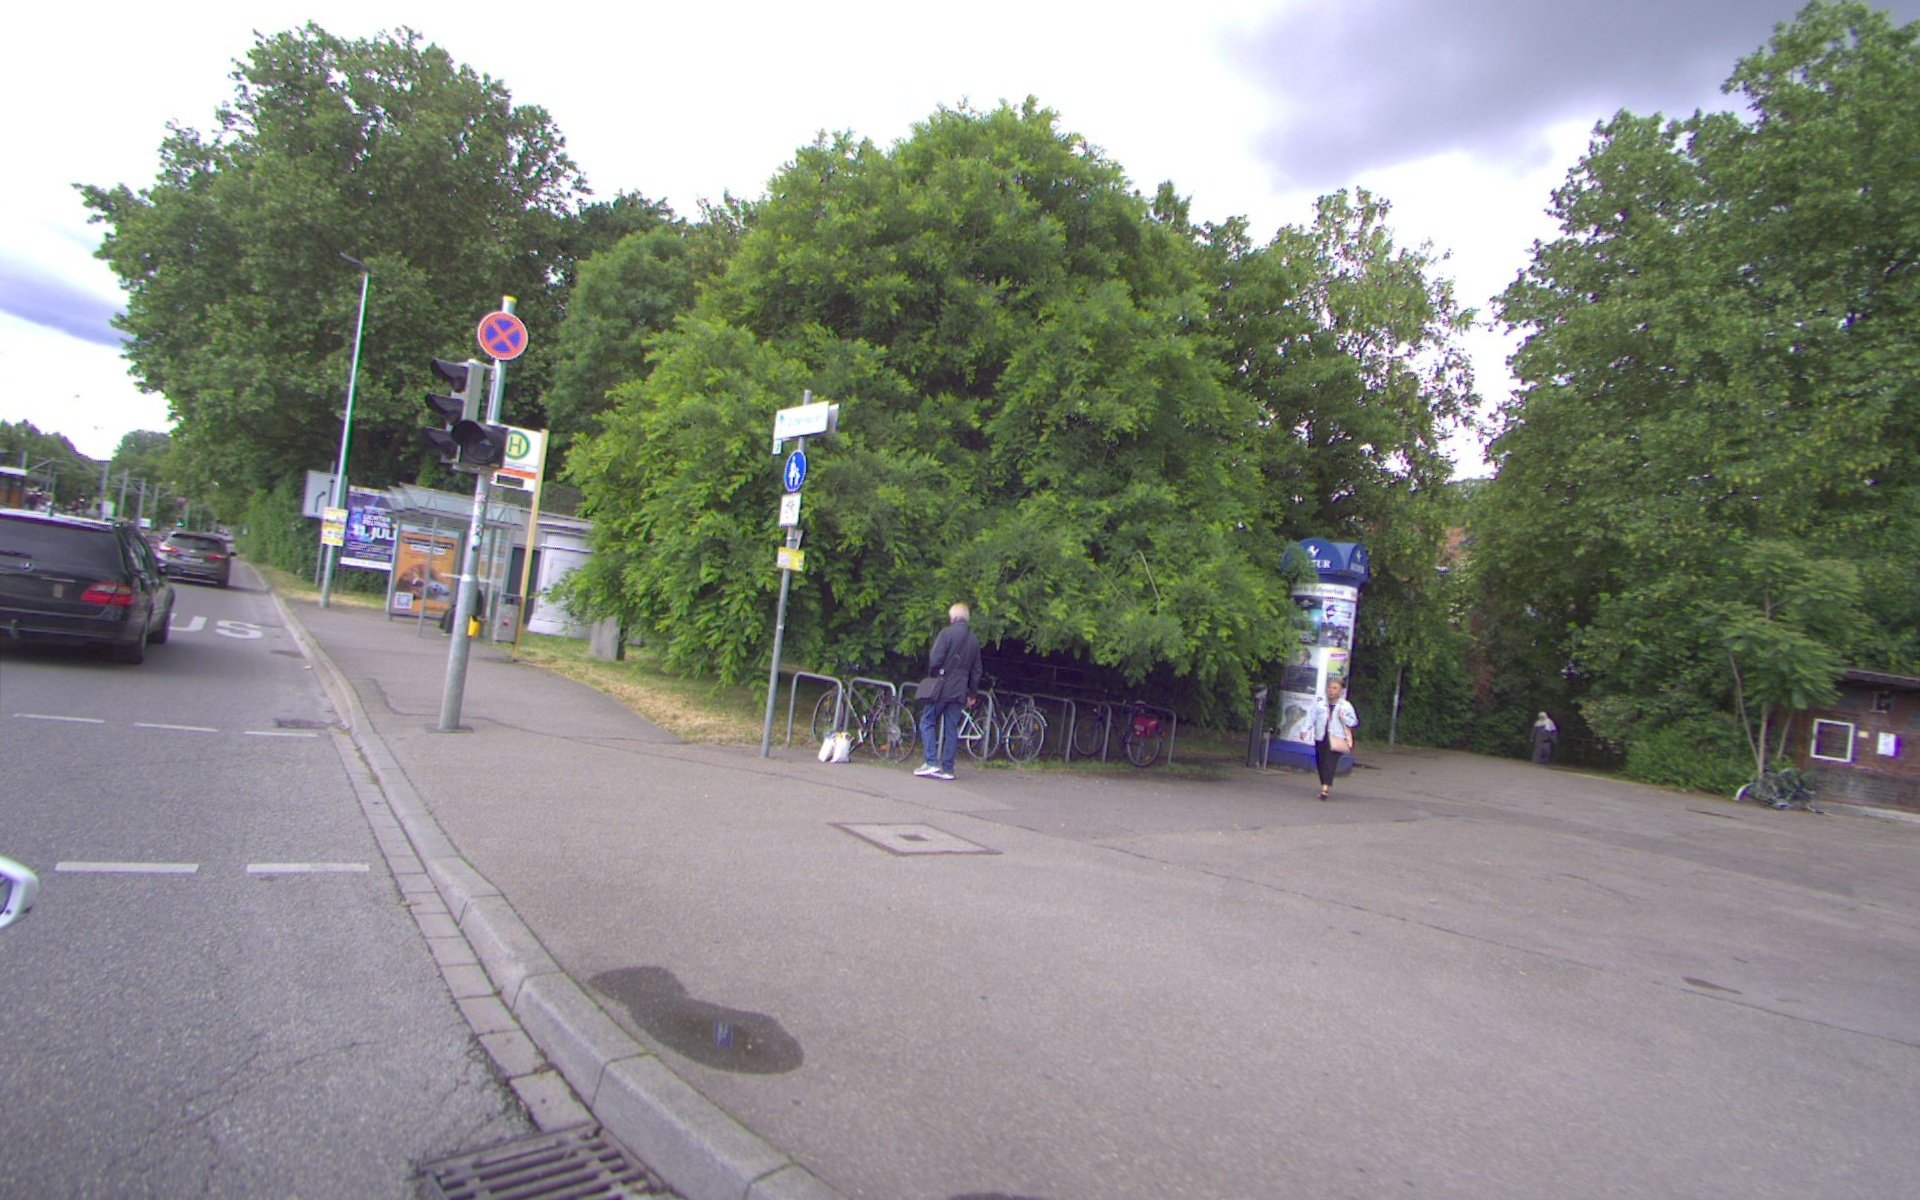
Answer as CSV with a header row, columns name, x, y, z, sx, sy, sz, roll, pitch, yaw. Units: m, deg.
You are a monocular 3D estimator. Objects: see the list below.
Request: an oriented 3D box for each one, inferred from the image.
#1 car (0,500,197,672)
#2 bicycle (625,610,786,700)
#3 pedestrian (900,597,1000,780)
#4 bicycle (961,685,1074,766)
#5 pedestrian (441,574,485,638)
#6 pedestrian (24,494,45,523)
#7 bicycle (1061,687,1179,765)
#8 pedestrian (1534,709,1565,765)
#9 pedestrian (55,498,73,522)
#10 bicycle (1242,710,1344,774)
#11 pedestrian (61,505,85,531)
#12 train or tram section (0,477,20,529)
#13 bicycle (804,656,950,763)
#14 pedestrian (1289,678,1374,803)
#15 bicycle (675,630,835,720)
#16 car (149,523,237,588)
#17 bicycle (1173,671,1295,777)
name,x,y,z,sx,sy,sz,roll,pitch,yaw
car,-10.030,-0.243,11.364,1.823,1.494,4.377,10,-3,-34
bicycle,-3.545,0.770,14.025,2.018,0.949,0.589,9,-2,-21
pedestrian,-0.097,0.904,10.271,0.685,1.773,0.415,9,-3,-39
bicycle,0.730,1.624,13.156,0.475,0.816,1.497,10,-3,-40
pedestrian,-9.831,0.117,19.885,0.597,1.172,0.541,7,0,-36
pedestrian,-58.700,-5.808,63.787,0.767,1.698,0.783,6,-1,-36
bicycle,2.327,1.835,14.799,0.475,0.866,1.719,10,-3,-40
pedestrian,17.411,4.035,29.727,0.612,1.583,0.493,6,-2,-34
pedestrian,-60.367,-6.071,67.766,0.511,1.500,0.582,6,-1,2
bicycle,5.939,2.529,18.015,0.475,0.866,1.639,10,-3,-40
pedestrian,-63.978,-5.943,72.559,0.731,1.698,0.877,6,-1,8
train or tram section,-73.957,-7.622,74.584,2.739,3.928,18.470,8,-2,-33
bicycle,-0.989,1.229,11.570,0.521,0.917,1.828,7,0,-45
pedestrian,4.942,1.857,13.362,0.662,1.531,0.751,6,-2,45
bicycle,-2.600,0.975,12.866,1.856,0.935,0.540,9,0,-35
car,-23.105,-1.340,30.437,1.817,1.547,4.373,10,-3,-36
bicycle,4.306,1.932,15.892,0.642,1.387,1.639,9,-2,-40
